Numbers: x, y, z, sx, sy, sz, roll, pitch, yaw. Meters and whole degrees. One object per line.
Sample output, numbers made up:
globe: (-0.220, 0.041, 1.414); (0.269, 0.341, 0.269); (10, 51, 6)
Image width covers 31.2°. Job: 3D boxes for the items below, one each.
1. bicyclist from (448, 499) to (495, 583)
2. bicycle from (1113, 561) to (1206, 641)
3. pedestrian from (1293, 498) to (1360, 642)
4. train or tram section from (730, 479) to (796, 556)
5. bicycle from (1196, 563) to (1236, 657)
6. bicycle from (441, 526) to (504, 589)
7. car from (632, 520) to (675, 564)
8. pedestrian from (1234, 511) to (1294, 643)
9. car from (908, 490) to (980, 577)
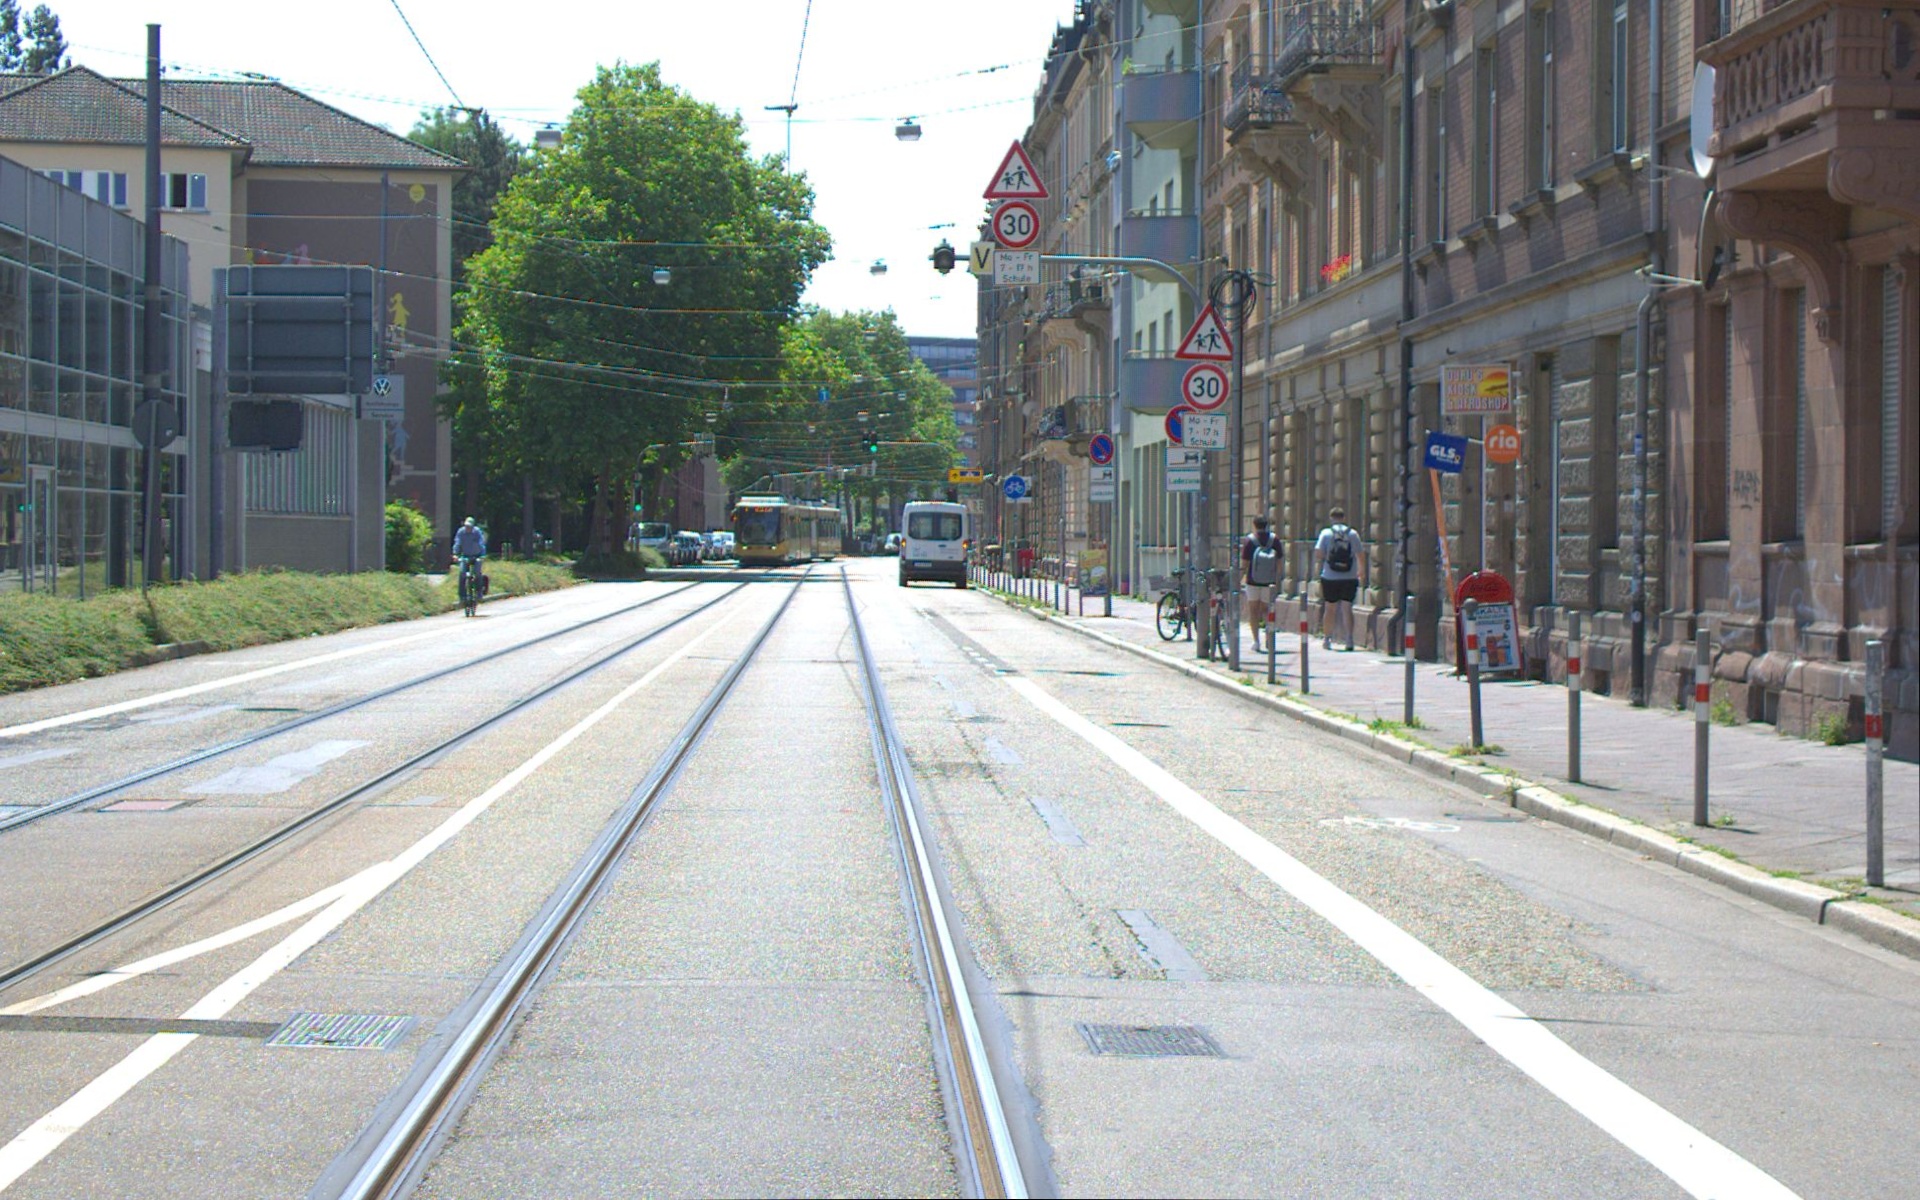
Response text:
bicyclist: (-9.063, -1.096, 63.787); (0.698, 1.543, 0.980); (0, 1, 3)
bicycle: (2.910, 0.002, 49.839); (0.499, 1.127, 2.240); (0, 1, 27)
pedestrian: (4.793, -0.396, 45.022); (0.702, 1.842, 0.644); (-3, 1, -1)
train or tram section: (-9.557, -4.011, 167.585); (2.960, 3.568, 13.425); (1, 1, -2)
bicycle: (3.131, 0.103, 42.161); (0.447, 1.093, 2.422); (0, 1, 4)
bicycle: (-9.041, -0.791, 63.802); (0.698, 1.140, 2.495); (0, 1, 3)
car: (-13.702, -2.606, 153.699); (1.800, 1.916, 4.001); (1, 1, -4)
pedestrian: (3.978, -0.303, 45.029); (0.720, 1.714, 0.644); (0, 1, -1)
car: (-0.519, -2.016, 103.951); (2.067, 2.492, 5.454); (2, 1, -1)
